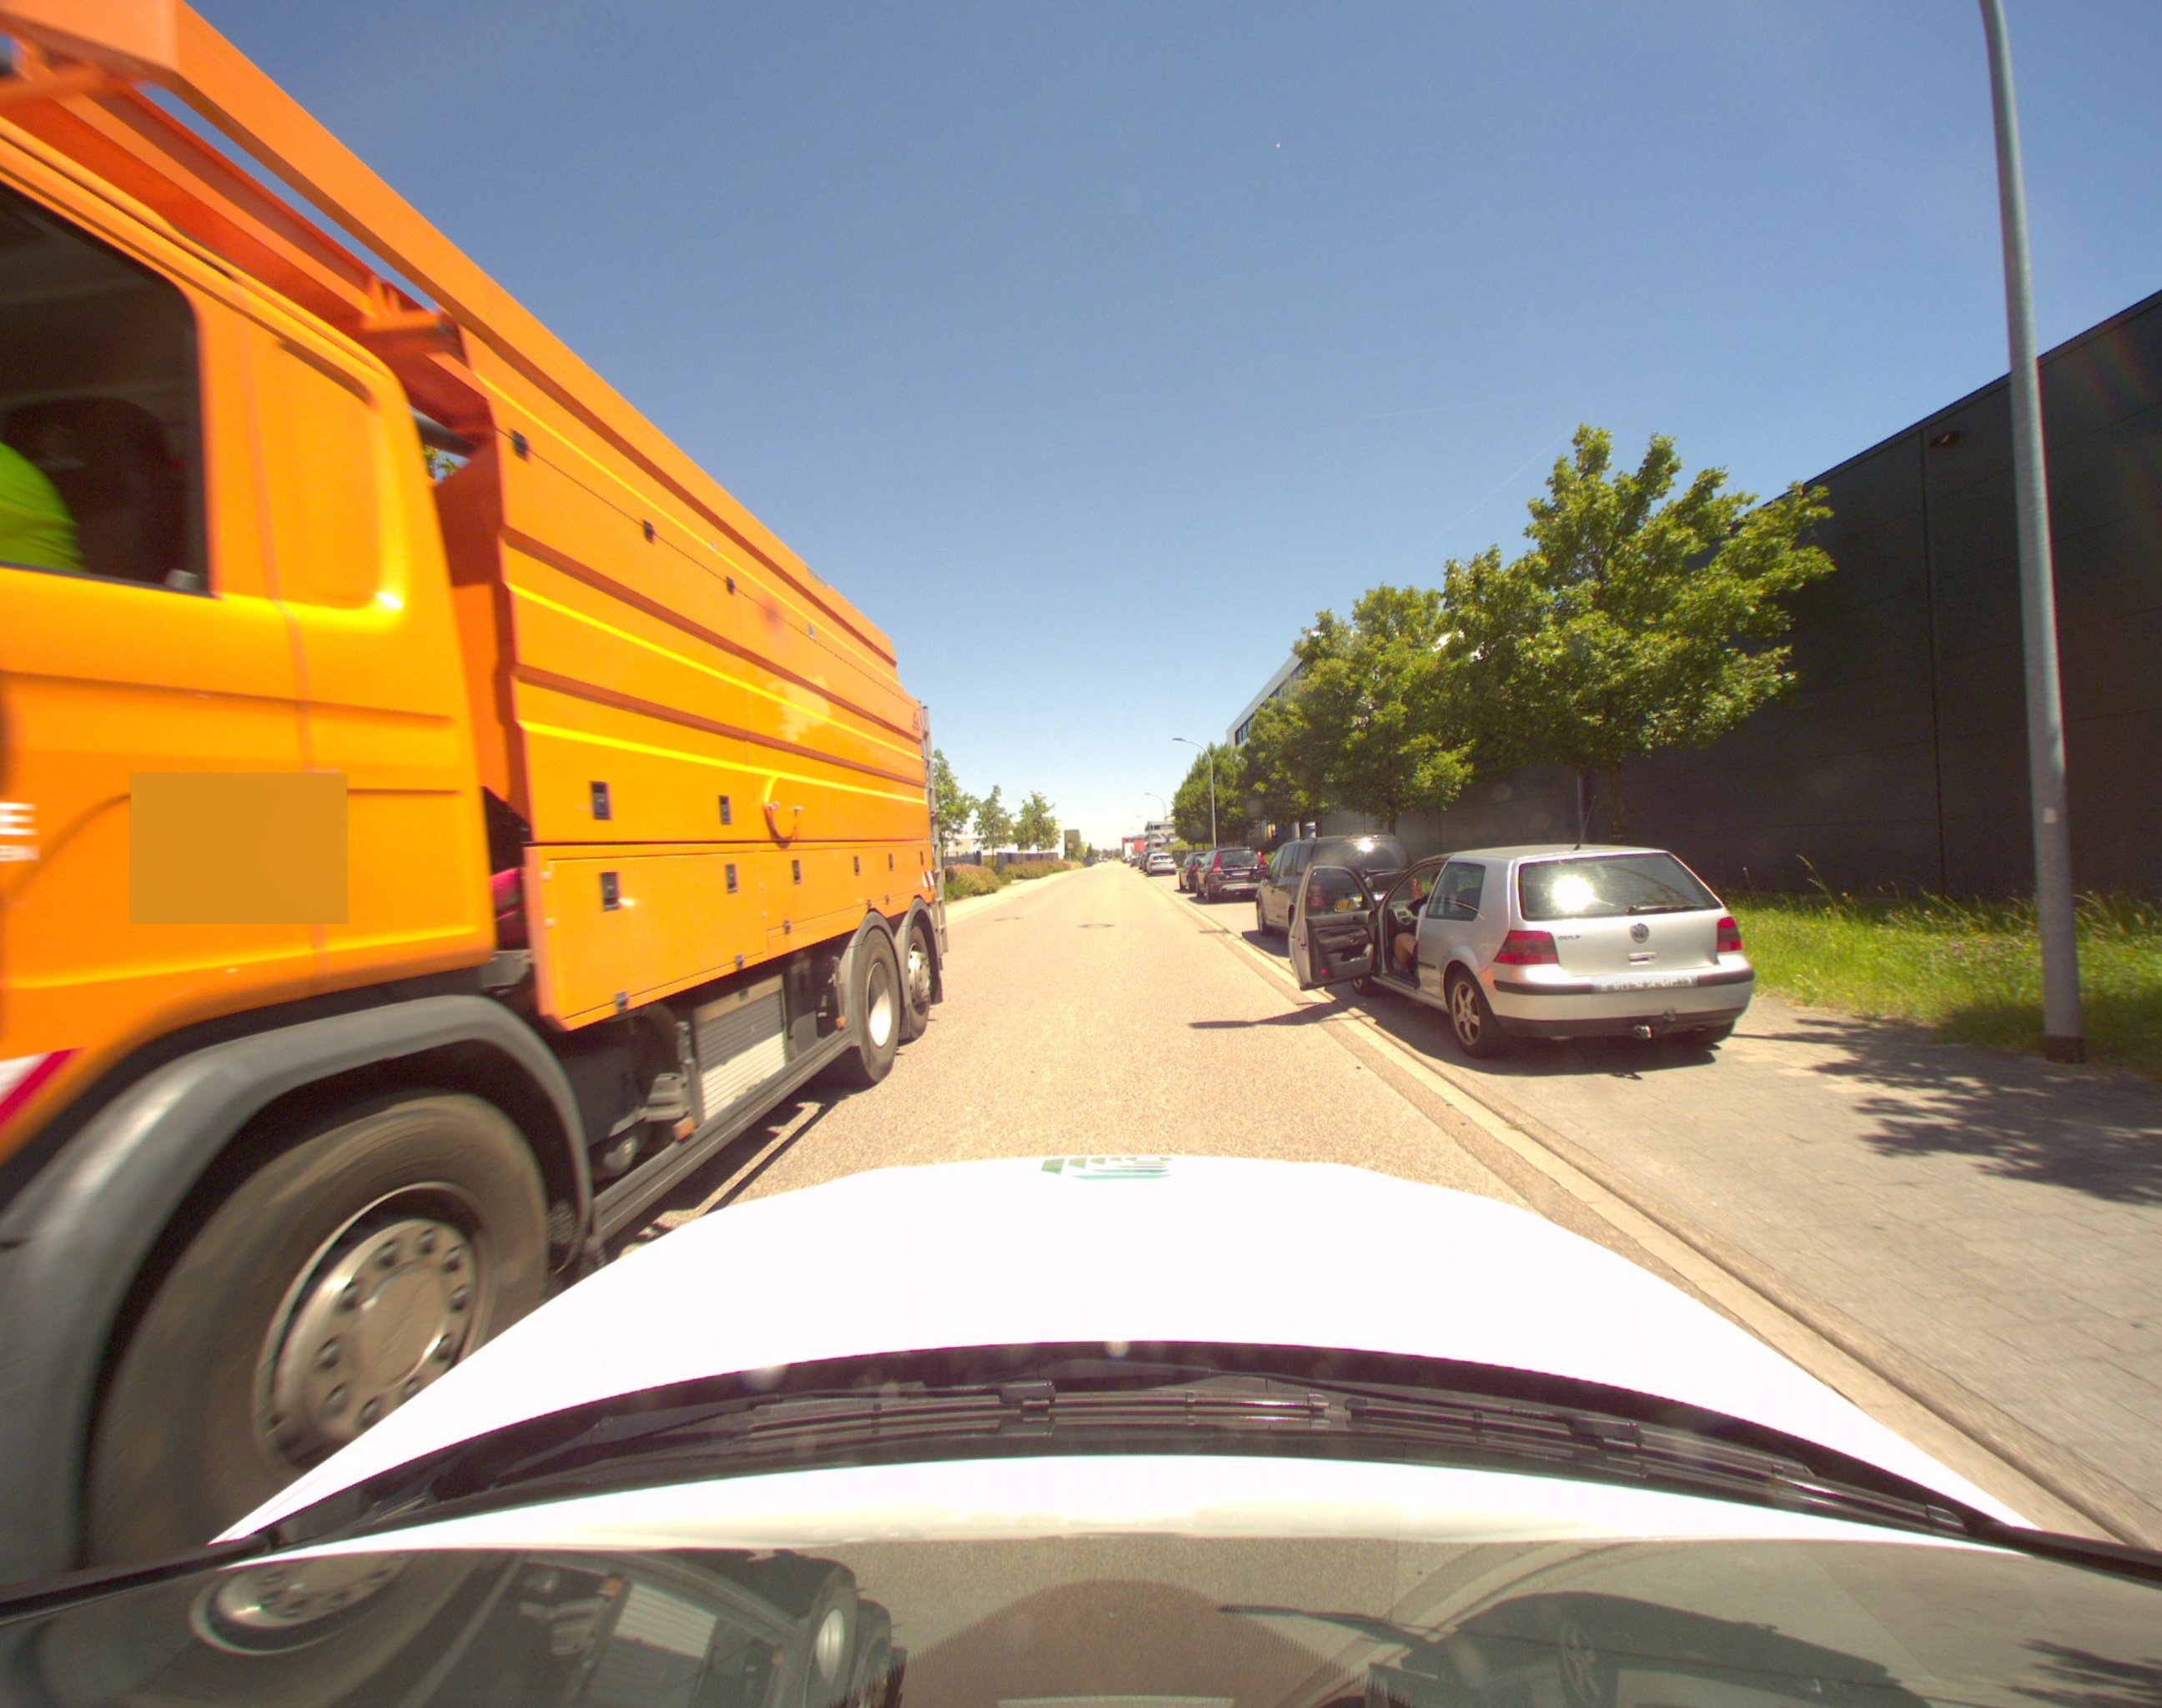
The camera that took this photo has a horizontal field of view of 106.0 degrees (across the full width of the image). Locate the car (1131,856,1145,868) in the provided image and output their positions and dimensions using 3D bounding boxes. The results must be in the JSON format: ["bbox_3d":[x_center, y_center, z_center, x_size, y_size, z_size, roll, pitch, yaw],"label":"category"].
[{"bbox_3d":[8.328,1.154,118.247,1.899,1.448,4.005,-4,-1,5],"label":"car"}]

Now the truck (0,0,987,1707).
[{"bbox_3d":[-2.729,-0.160,5.223,2.590,3.545,10.504,-3,0,1],"label":"truck"}]

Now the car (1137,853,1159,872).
[{"bbox_3d":[6.460,0.810,78.815,1.797,1.662,4.609,-5,0,1],"label":"car"}]

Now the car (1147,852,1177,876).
[{"bbox_3d":[5.339,0.661,53.939,1.709,1.423,3.954,-5,0,3],"label":"car"}]

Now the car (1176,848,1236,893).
[{"bbox_3d":[4.686,0.599,31.021,1.685,1.476,4.270,-4,0,2],"label":"car"}]

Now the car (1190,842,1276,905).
[{"bbox_3d":[4.545,0.548,25.004,1.801,1.617,4.716,-4,0,2],"label":"car"}]

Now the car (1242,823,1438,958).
[{"bbox_3d":[3.836,0.492,12.900,1.731,1.670,4.369,-4,0,2],"label":"car"}]

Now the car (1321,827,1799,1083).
[{"bbox_3d":[3.536,0.623,7.067,1.701,1.457,4.190,-4,0,2],"label":"car"}]

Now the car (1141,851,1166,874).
[{"bbox_3d":[5.842,0.678,65.878,1.750,1.663,4.366,-4,0,3],"label":"car"}]

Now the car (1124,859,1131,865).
[{"bbox_3d":[13.043,2.320,229.155,1.769,1.728,4.002,0,-1,2],"label":"car"}]

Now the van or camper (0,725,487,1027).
[{"bbox_3d":[-10.826,0.300,8.902,6.749,2.684,2.577,-2,0,2],"label":"van or camper"}]
